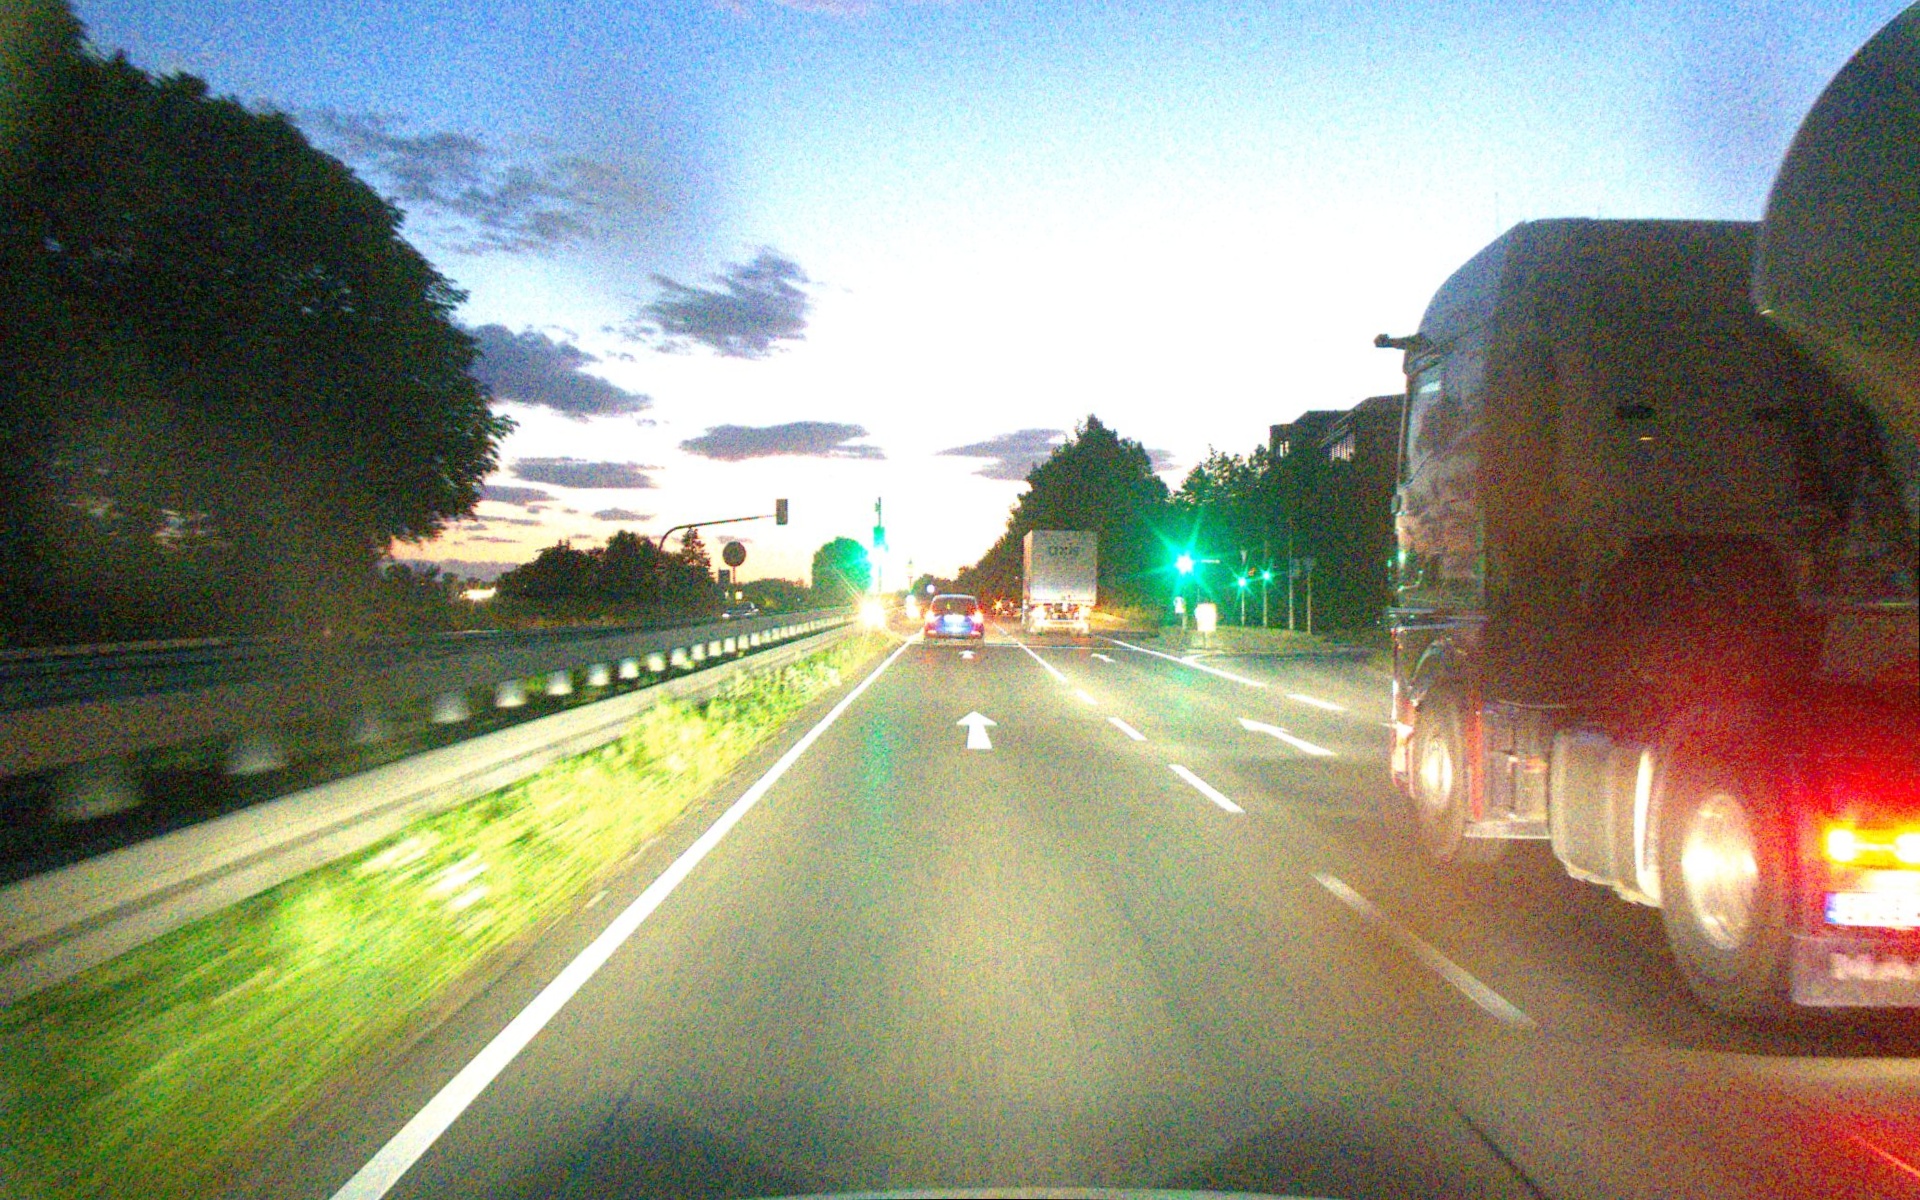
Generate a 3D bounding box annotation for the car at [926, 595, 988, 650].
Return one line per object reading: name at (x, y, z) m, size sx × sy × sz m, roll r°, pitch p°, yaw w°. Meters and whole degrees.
car at (-0.130, 0.609, 46.677) m, size 1.661 × 1.478 × 3.913 m, roll 1°, pitch 0°, yaw -1°

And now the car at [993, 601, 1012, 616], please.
car at (4.191, 0.809, 163.057) m, size 1.661 × 1.478 × 3.913 m, roll 1°, pitch 0°, yaw -1°

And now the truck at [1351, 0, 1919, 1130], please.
truck at (4.070, -0.567, 5.238) m, size 2.632 × 4.178 × 13.141 m, roll 1°, pitch 0°, yaw 1°

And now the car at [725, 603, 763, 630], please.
car at (-11.572, 0.852, 88.695) m, size 1.573 × 1.353 × 3.938 m, roll -2°, pitch 0°, yaw -1°

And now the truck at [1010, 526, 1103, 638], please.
truck at (3.849, -0.684, 68.827) m, size 2.825 × 4.178 × 12.680 m, roll 1°, pitch 0°, yaw -1°
